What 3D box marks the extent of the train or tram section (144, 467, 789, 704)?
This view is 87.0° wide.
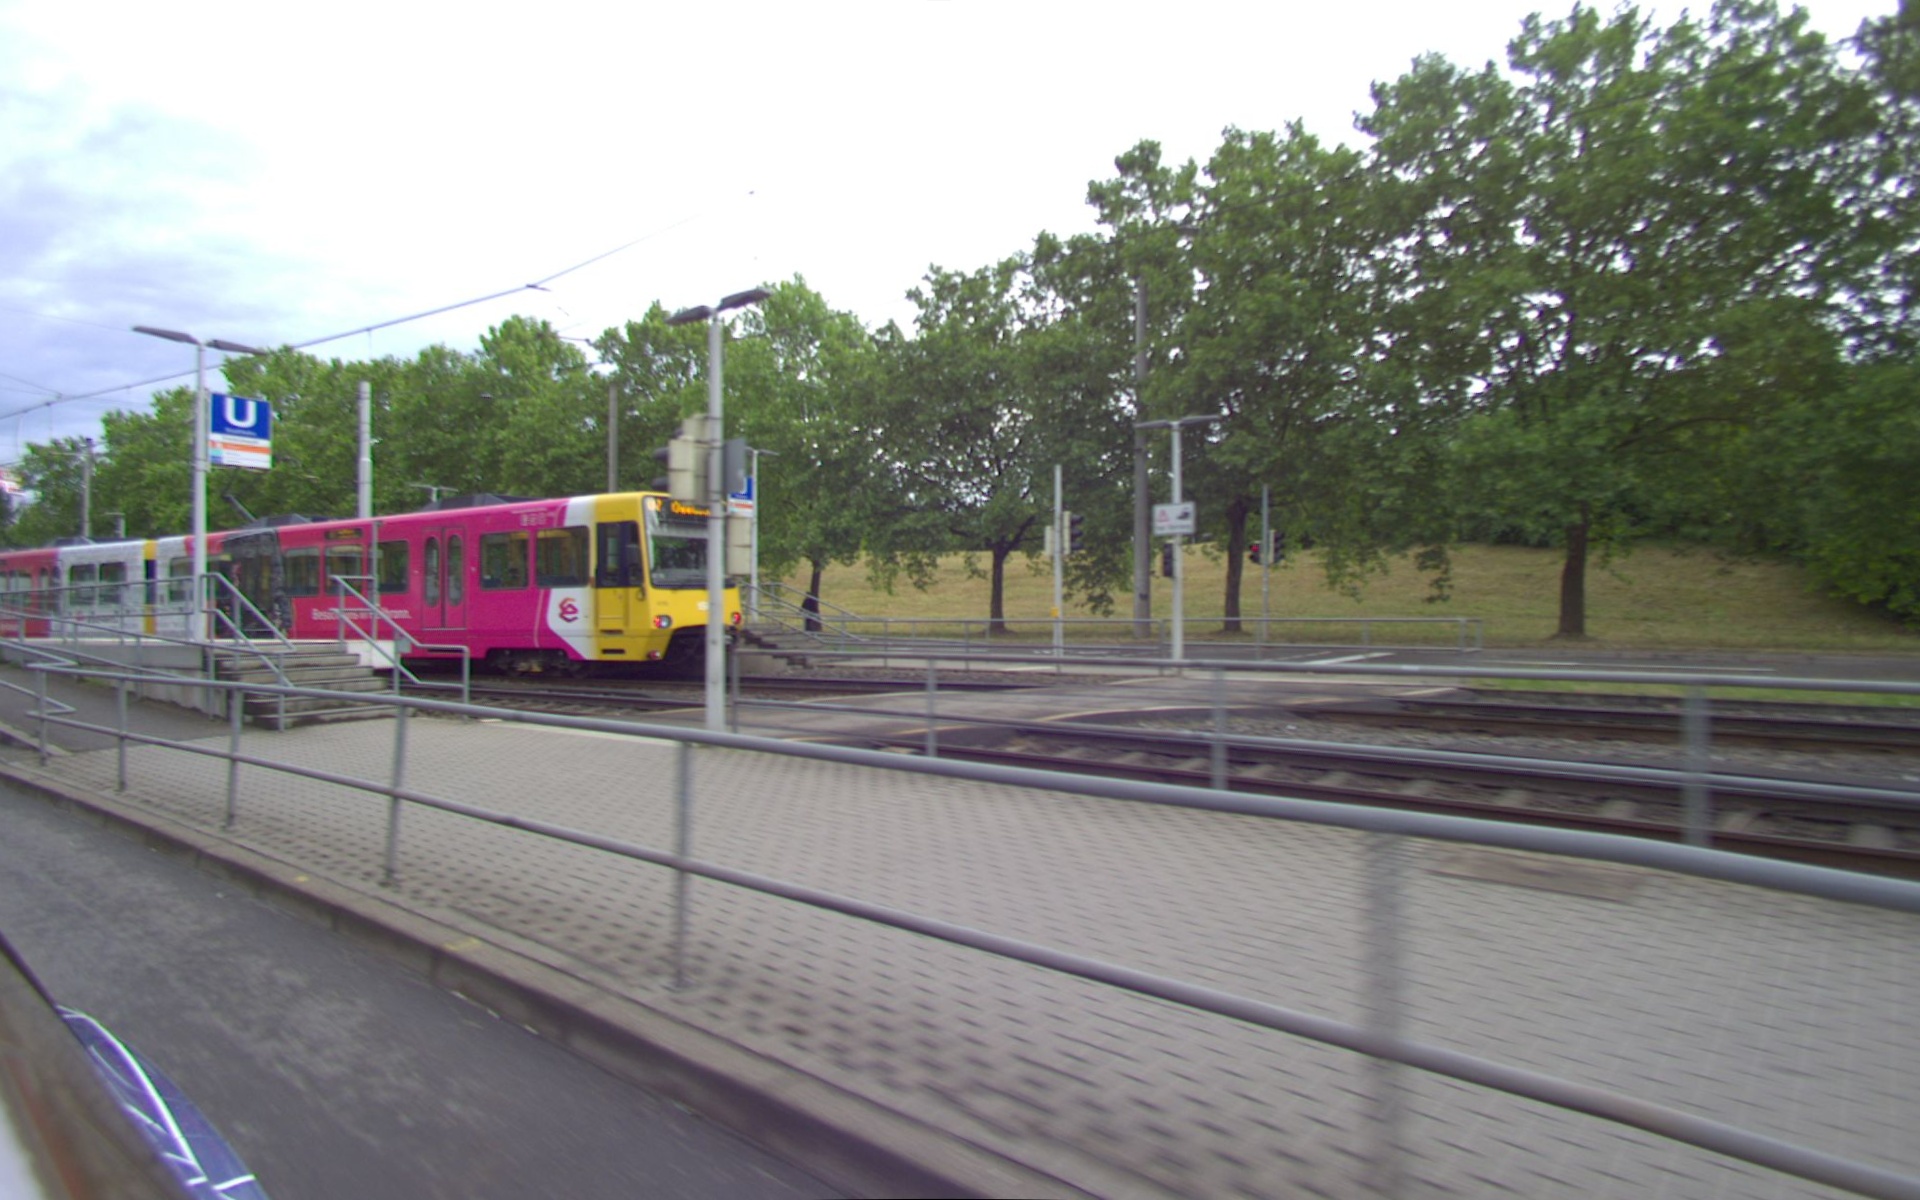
[{"bbox_3d":[-12.387,-0.267,23.100,19.251,3.990,2.849,0,2,30],"label":"train or tram section"}]

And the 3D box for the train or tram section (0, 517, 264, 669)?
[{"bbox_3d":[-29.242,-0.187,32.228,19.235,4.000,2.851,0,2,27],"label":"train or tram section"}]

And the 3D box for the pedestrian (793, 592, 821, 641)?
[{"bbox_3d":[-5.848,0.632,38.628,0.764,1.835,0.721,-1,0,43],"label":"pedestrian"}]
